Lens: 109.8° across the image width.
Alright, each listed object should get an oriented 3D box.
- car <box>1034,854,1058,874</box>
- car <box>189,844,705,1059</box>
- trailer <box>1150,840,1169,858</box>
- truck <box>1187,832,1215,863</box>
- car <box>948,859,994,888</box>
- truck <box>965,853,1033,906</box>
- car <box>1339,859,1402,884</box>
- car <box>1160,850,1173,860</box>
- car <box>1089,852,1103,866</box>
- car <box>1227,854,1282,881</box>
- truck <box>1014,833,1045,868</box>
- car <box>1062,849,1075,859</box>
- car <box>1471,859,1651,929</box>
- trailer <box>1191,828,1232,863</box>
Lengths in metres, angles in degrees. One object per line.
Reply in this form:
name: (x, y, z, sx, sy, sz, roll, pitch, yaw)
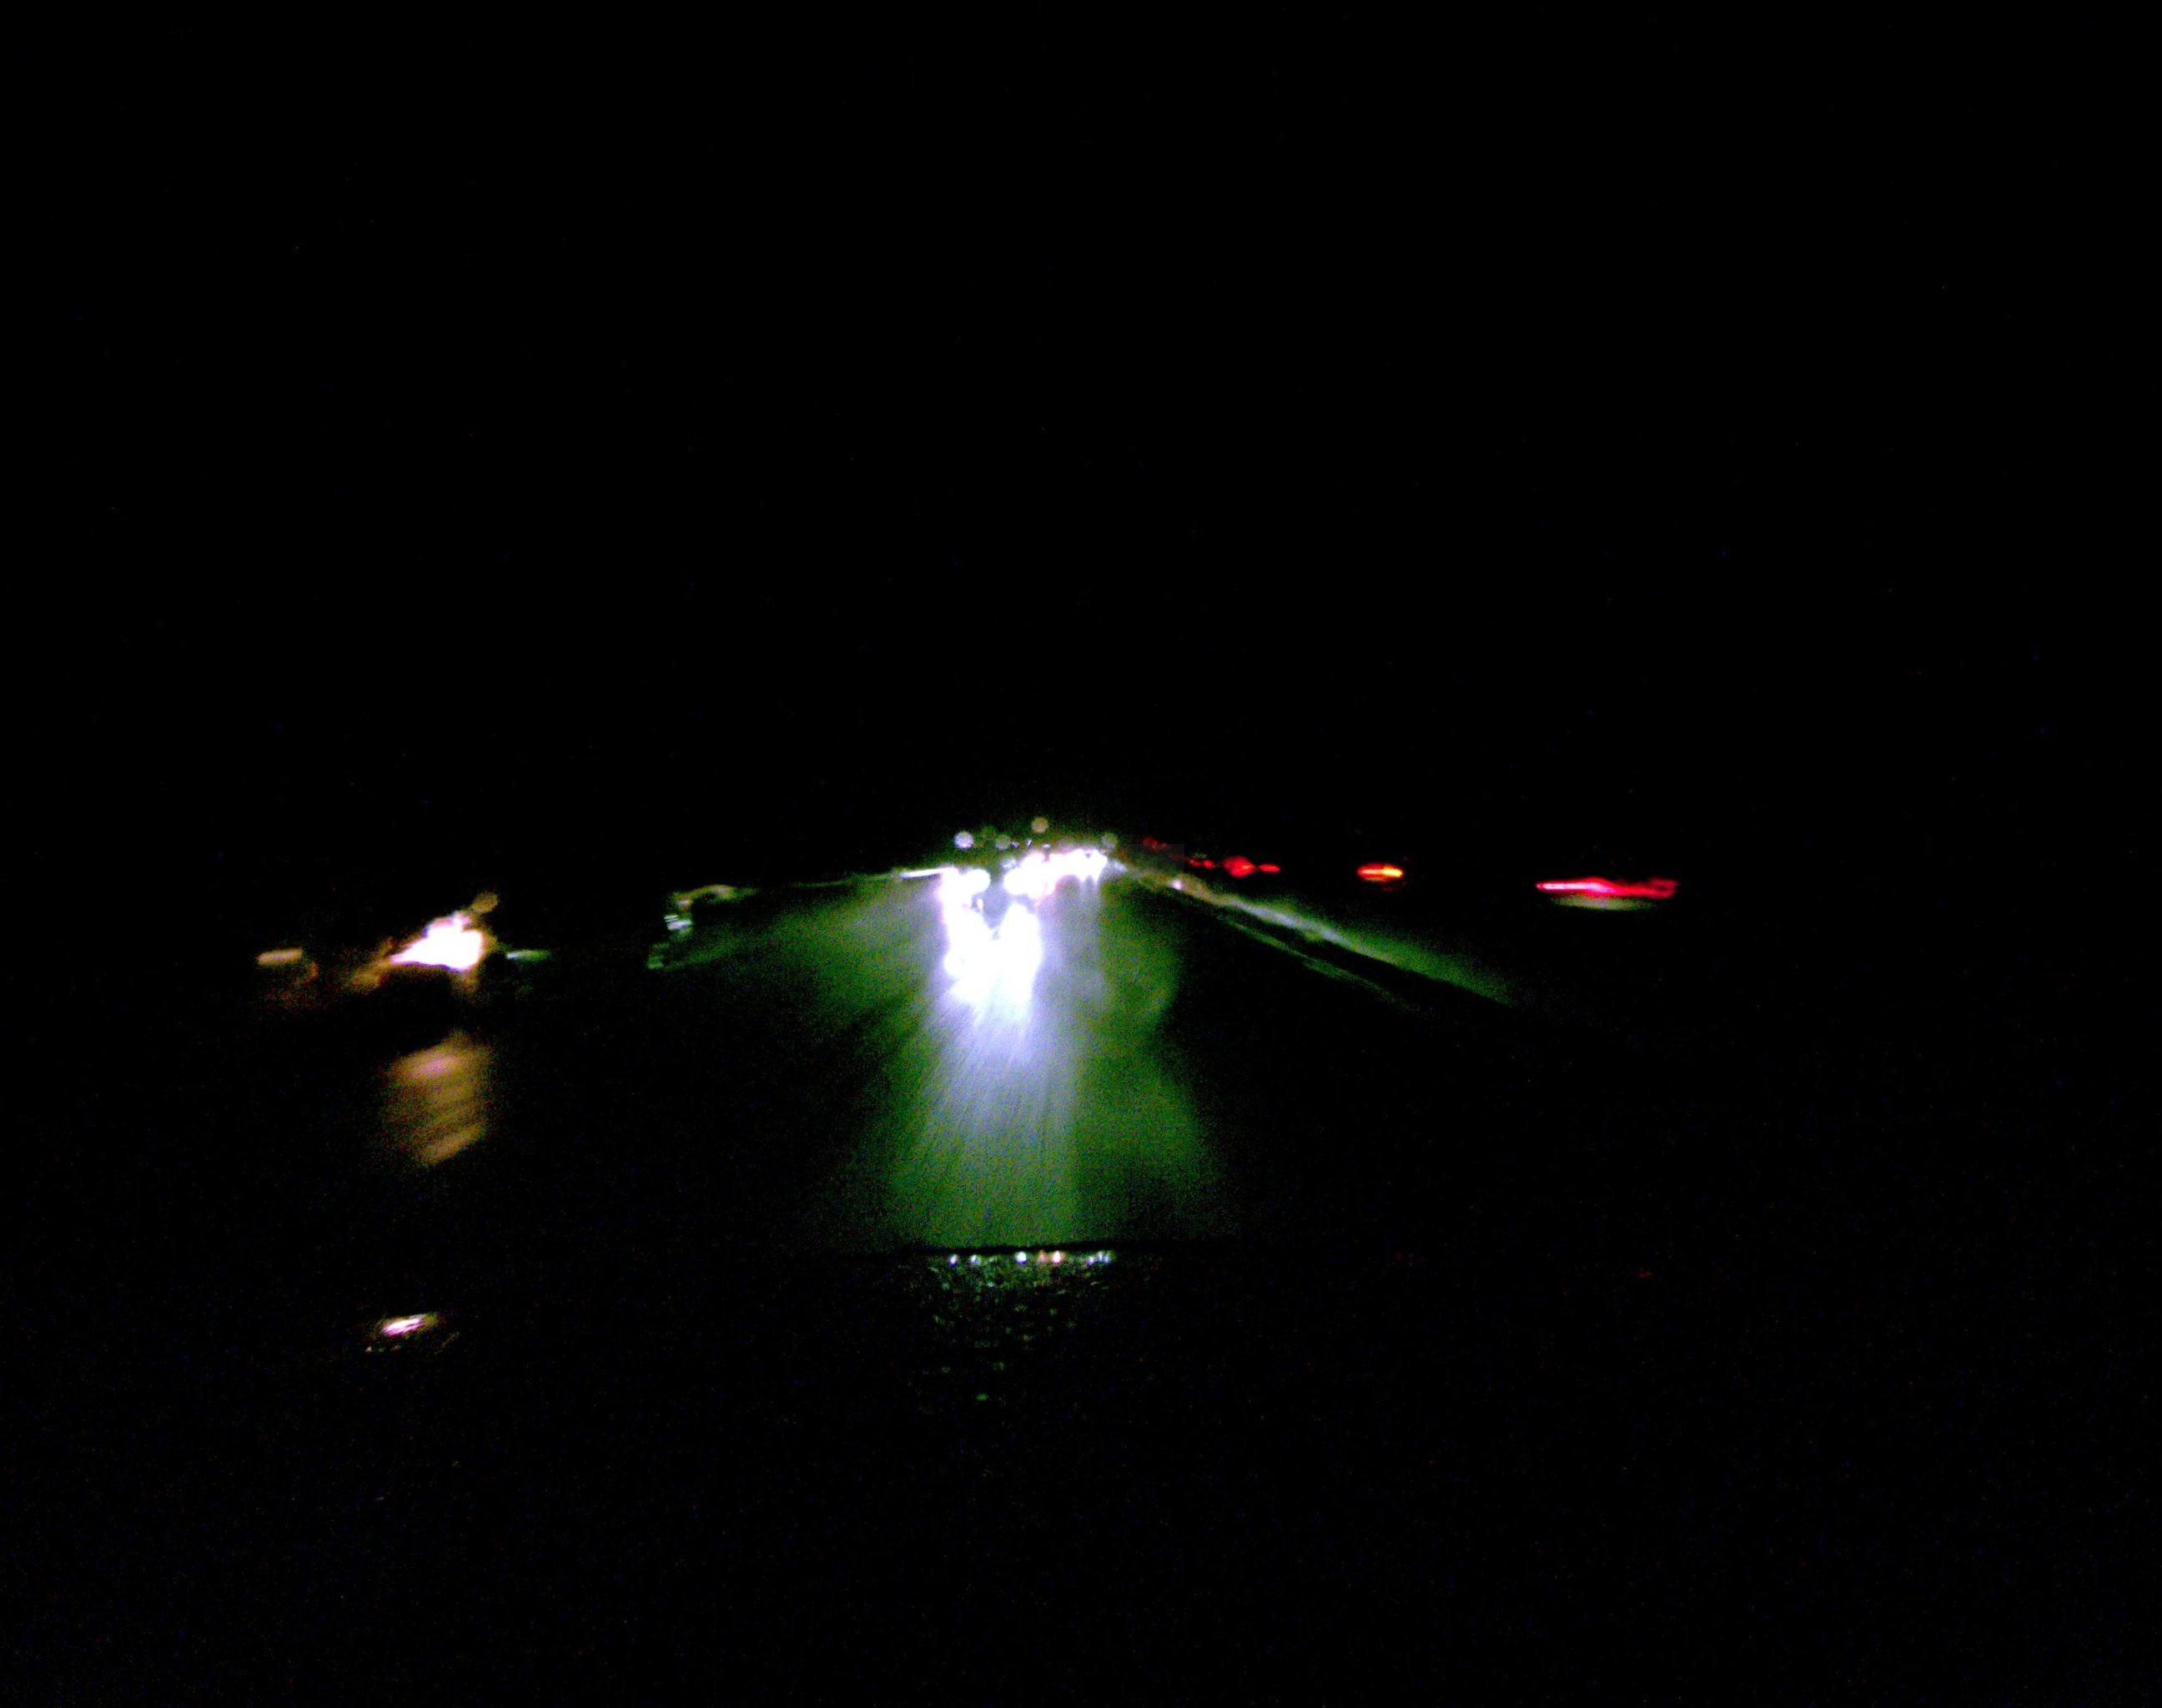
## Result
car: (-2.933, 0.818, 64.454, 1.619, 1.494, 3.767, -2, 1, 2)
car: (-7.263, 0.912, 9.803, 2.051, 1.962, 5.406, -2, 0, 0)
trailer: (18.955, -1.133, 184.314, 3.056, 4.268, 14.408, 1, 0, 0)
truck: (17.576, -0.857, 111.471, 2.894, 4.309, 6.746, -2, 0, 1)
car: (-6.176, 1.053, 43.367, 1.747, 1.470, 5.366, -3, 0, 1)
truck: (-2.953, 0.857, 28.404, 1.848, 1.686, 4.854, -2, 1, 1)
car: (16.913, 0.973, 44.606, 1.967, 1.337, 4.288, -2, 0, 0)
car: (14.102, 0.175, 125.437, 1.682, 1.588, 4.348, 0, 0, -1)
car: (1.807, 0.571, 90.753, 1.619, 1.452, 3.767, -2, 1, 2)
car: (9.283, 0.681, 41.020, 1.967, 1.337, 4.288, -2, 0, 0)
truck: (-6.260, -0.454, 92.826, 2.866, 4.079, 7.014, -3, 1, 2)
car: (-2.079, -0.075, 128.720, 1.944, 1.521, 4.000, -2, 1, 2)
car: (12.701, 0.966, 20.576, 1.654, 1.572, 5.128, -2, 0, 1)
trailer: (17.539, -0.940, 103.340, 2.894, 4.278, 15.719, -2, -1, 1)
